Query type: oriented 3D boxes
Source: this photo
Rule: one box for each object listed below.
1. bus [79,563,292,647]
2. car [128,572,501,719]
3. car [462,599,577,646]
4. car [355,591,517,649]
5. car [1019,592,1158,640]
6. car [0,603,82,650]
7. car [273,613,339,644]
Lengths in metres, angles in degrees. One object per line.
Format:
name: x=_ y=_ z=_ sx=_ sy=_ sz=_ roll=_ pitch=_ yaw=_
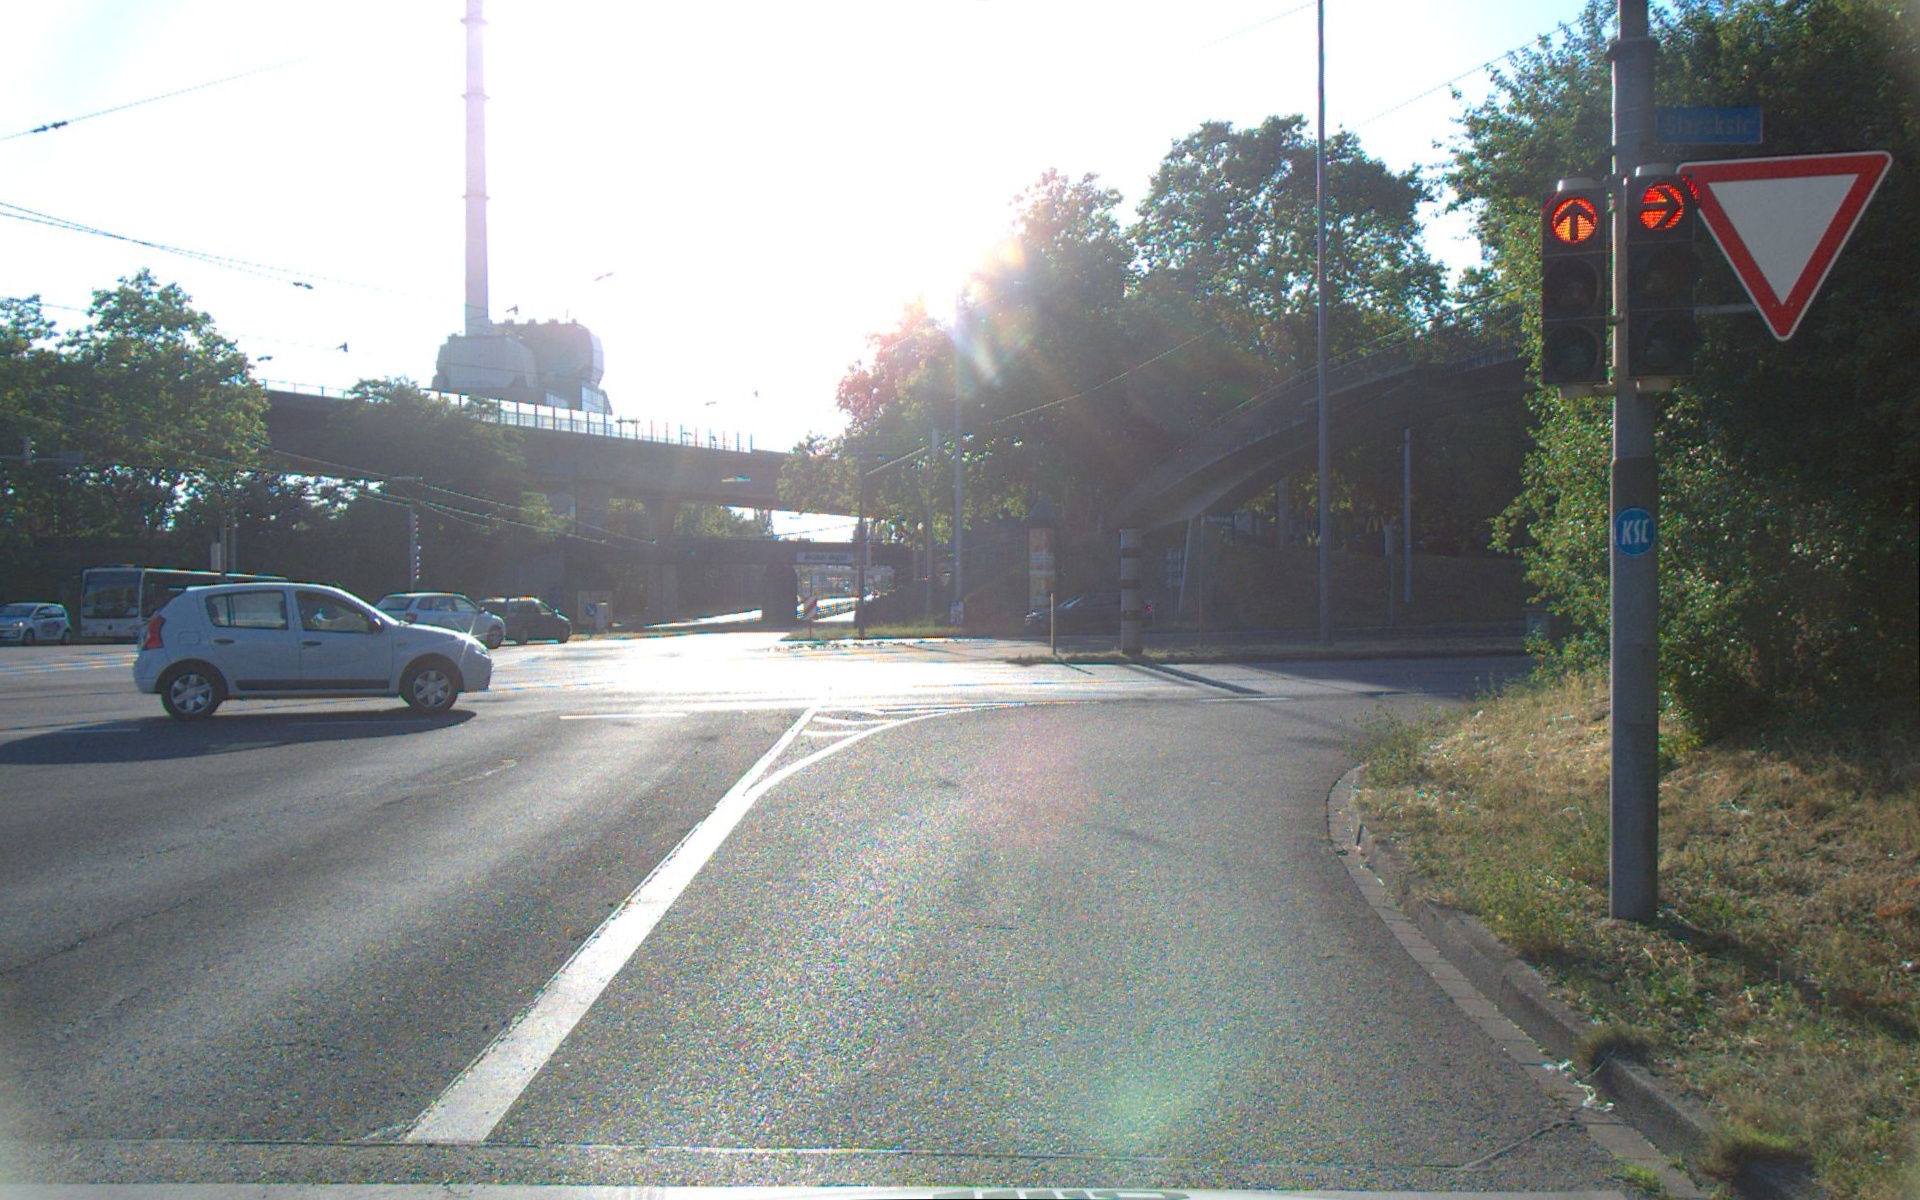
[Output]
bus: x=-32.014 y=0.328 z=69.251 sx=2.491 sy=3.185 sz=12.919 roll=-1 pitch=-1 yaw=2
car: x=-7.551 y=0.504 z=19.549 sx=3.932 sy=1.602 sz=1.682 roll=0 pitch=0 yaw=-23
car: x=-14.269 y=0.707 z=53.863 sx=1.630 sy=1.429 sz=4.448 roll=1 pitch=0 yaw=15
car: x=-13.609 y=0.496 z=43.185 sx=1.632 sy=1.429 sz=4.194 roll=1 pitch=0 yaw=25
car: x=4.420 y=0.544 z=57.132 sx=4.505 sy=1.602 sz=1.685 roll=1 pitch=0 yaw=-18
car: x=-32.161 y=0.887 z=57.238 sx=1.574 sy=1.538 sz=4.006 roll=1 pitch=0 yaw=-3
car: x=-31.702 y=1.362 z=80.268 sx=1.573 sy=1.444 sz=4.008 roll=1 pitch=0 yaw=1
